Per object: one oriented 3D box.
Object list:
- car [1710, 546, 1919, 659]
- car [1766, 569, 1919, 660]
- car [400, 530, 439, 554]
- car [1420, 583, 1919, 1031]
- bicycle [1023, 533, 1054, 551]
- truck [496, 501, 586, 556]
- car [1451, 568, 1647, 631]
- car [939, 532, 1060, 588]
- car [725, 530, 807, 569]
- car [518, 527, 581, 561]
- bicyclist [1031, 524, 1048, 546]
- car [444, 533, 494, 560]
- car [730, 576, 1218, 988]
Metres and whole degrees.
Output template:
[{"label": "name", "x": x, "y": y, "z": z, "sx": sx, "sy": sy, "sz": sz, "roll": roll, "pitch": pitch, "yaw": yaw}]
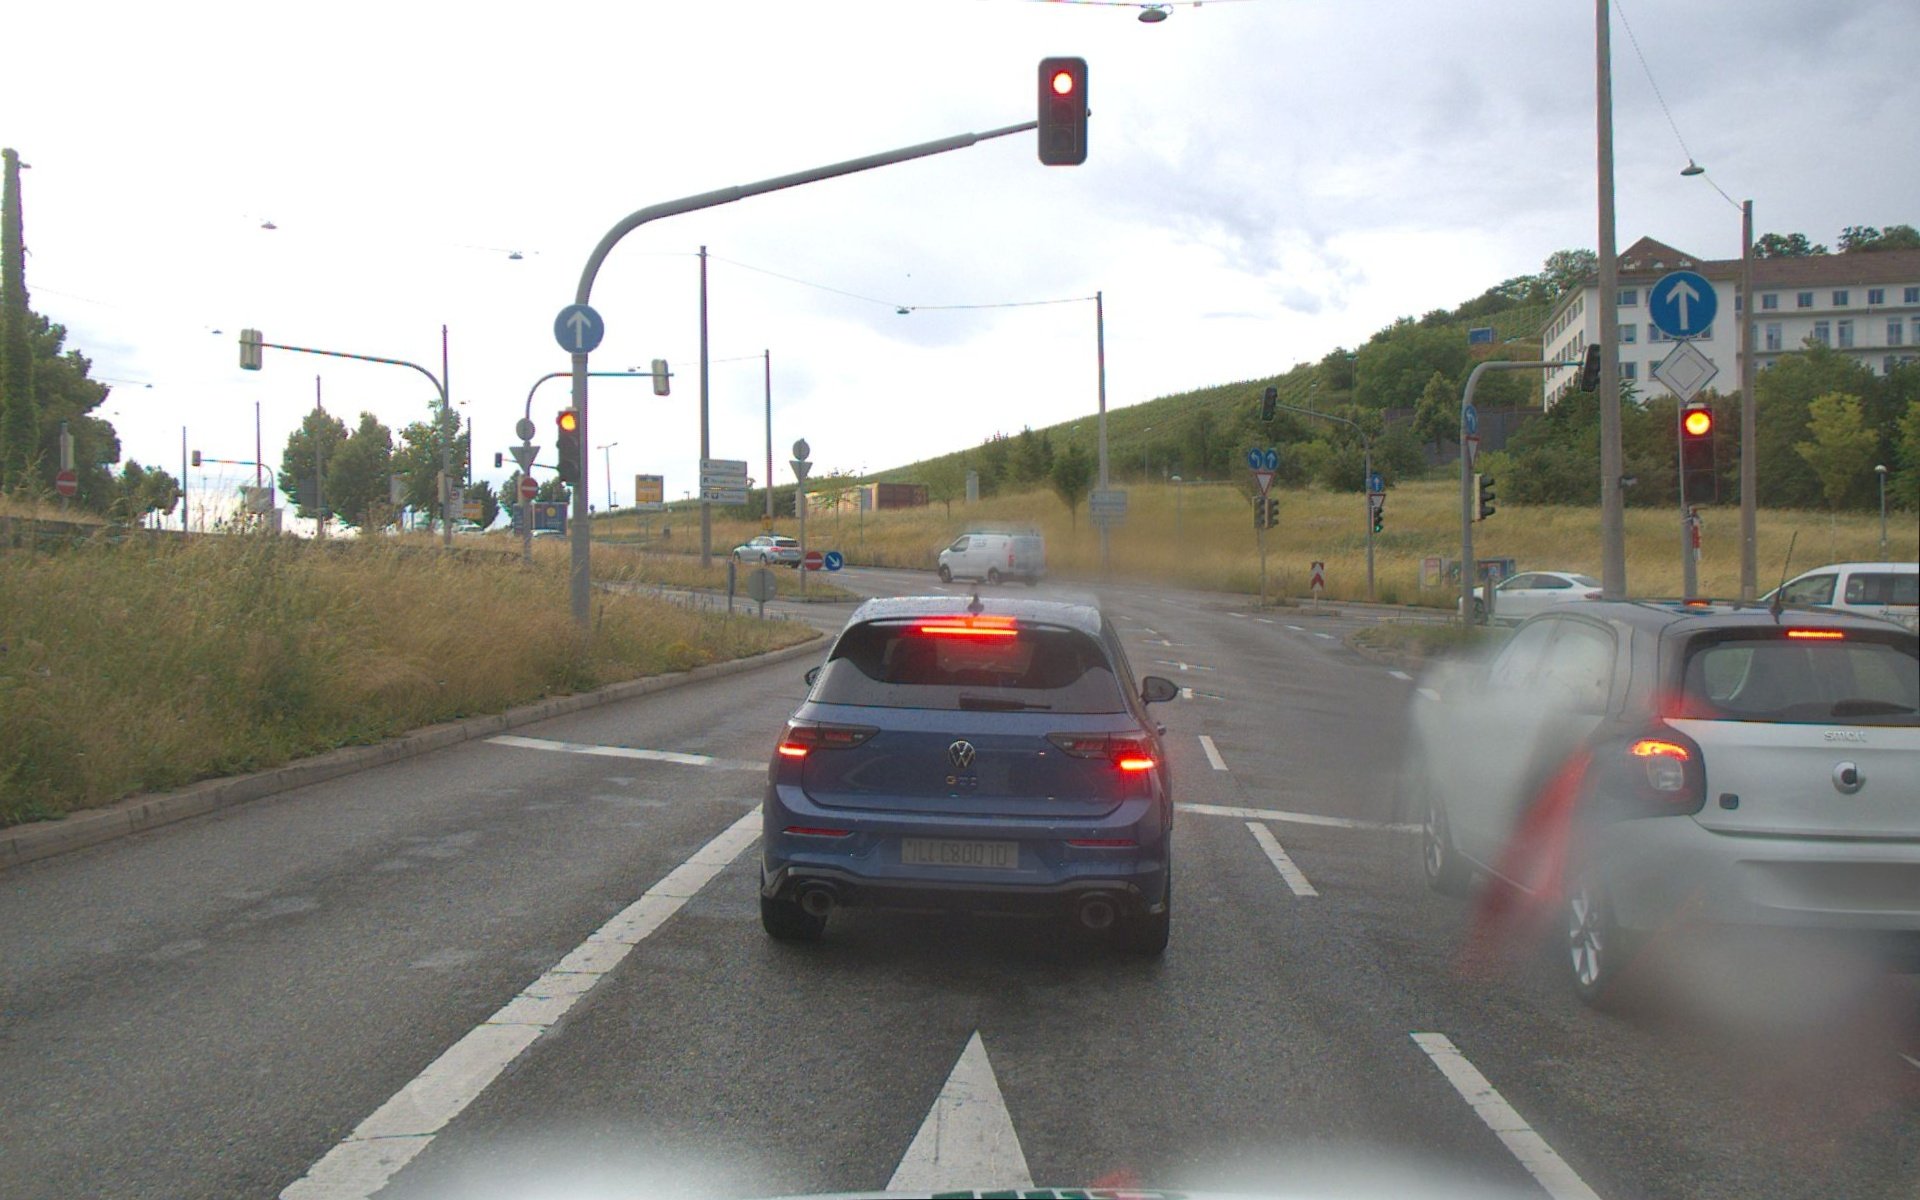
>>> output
[{"label": "car", "x": 15.899, "y": 0.051, "z": 29.066, "sx": 1.807, "sy": 1.882, "sz": 4.624, "roll": 1, "pitch": -1, "yaw": -43}, {"label": "car", "x": 17.831, "y": 0.283, "z": 31.057, "sx": 1.982, "sy": 1.649, "sz": 4.457, "roll": 1, "pitch": -1, "yaw": -41}, {"label": "car", "x": -42.911, "y": -4.590, "z": 131.326, "sx": 1.973, "sy": 1.688, "sz": 4.497, "roll": 1, "pitch": 0, "yaw": -31}, {"label": "car", "x": 3.270, "y": 0.732, "z": 7.443, "sx": 1.623, "sy": 1.529, "sz": 3.452, "roll": 1, "pitch": 0, "yaw": 4}, {"label": "bicycle", "x": 3.823, "y": -2.839, "z": 81.069, "sx": 0.515, "sy": 0.788, "sz": 1.596, "roll": 3, "pitch": 1, "yaw": -42}, {"label": "truck", "x": -26.083, "y": -4.458, "z": 102.804, "sx": 3.233, "sy": 3.127, "sz": 6.098, "roll": 3, "pitch": 1, "yaw": -36}, {"label": "car", "x": 14.882, "y": -0.008, "z": 42.006, "sx": 1.978, "sy": 1.503, "sz": 4.363, "roll": 1, "pitch": -1, "yaw": -36}, {"label": "car", "x": 1.432, "y": -1.521, "z": 61.759, "sx": 2.111, "sy": 1.825, "sz": 4.684, "roll": 3, "pitch": 1, "yaw": -35}, {"label": "car", "x": -9.247, "y": -2.379, "z": 78.394, "sx": 1.977, "sy": 1.688, "sz": 4.488, "roll": 1, "pitch": -1, "yaw": -35}, {"label": "car", "x": -22.884, "y": -3.089, "z": 92.175, "sx": 1.977, "sy": 1.688, "sz": 4.299, "roll": 1, "pitch": -1, "yaw": -35}, {"label": "bicyclist", "x": 3.881, "y": -3.180, "z": 81.032, "sx": 0.520, "sy": 1.065, "sz": 0.572, "roll": 3, "pitch": 0, "yaw": -42}, {"label": "car", "x": -34.561, "y": -3.740, "z": 116.315, "sx": 1.978, "sy": 1.688, "sz": 4.486, "roll": 1, "pitch": -1, "yaw": -36}, {"label": "car", "x": 0.161, "y": 0.642, "z": 8.022, "sx": 1.787, "sy": 1.486, "sz": 3.810, "roll": 1, "pitch": 1, "yaw": 3}]
